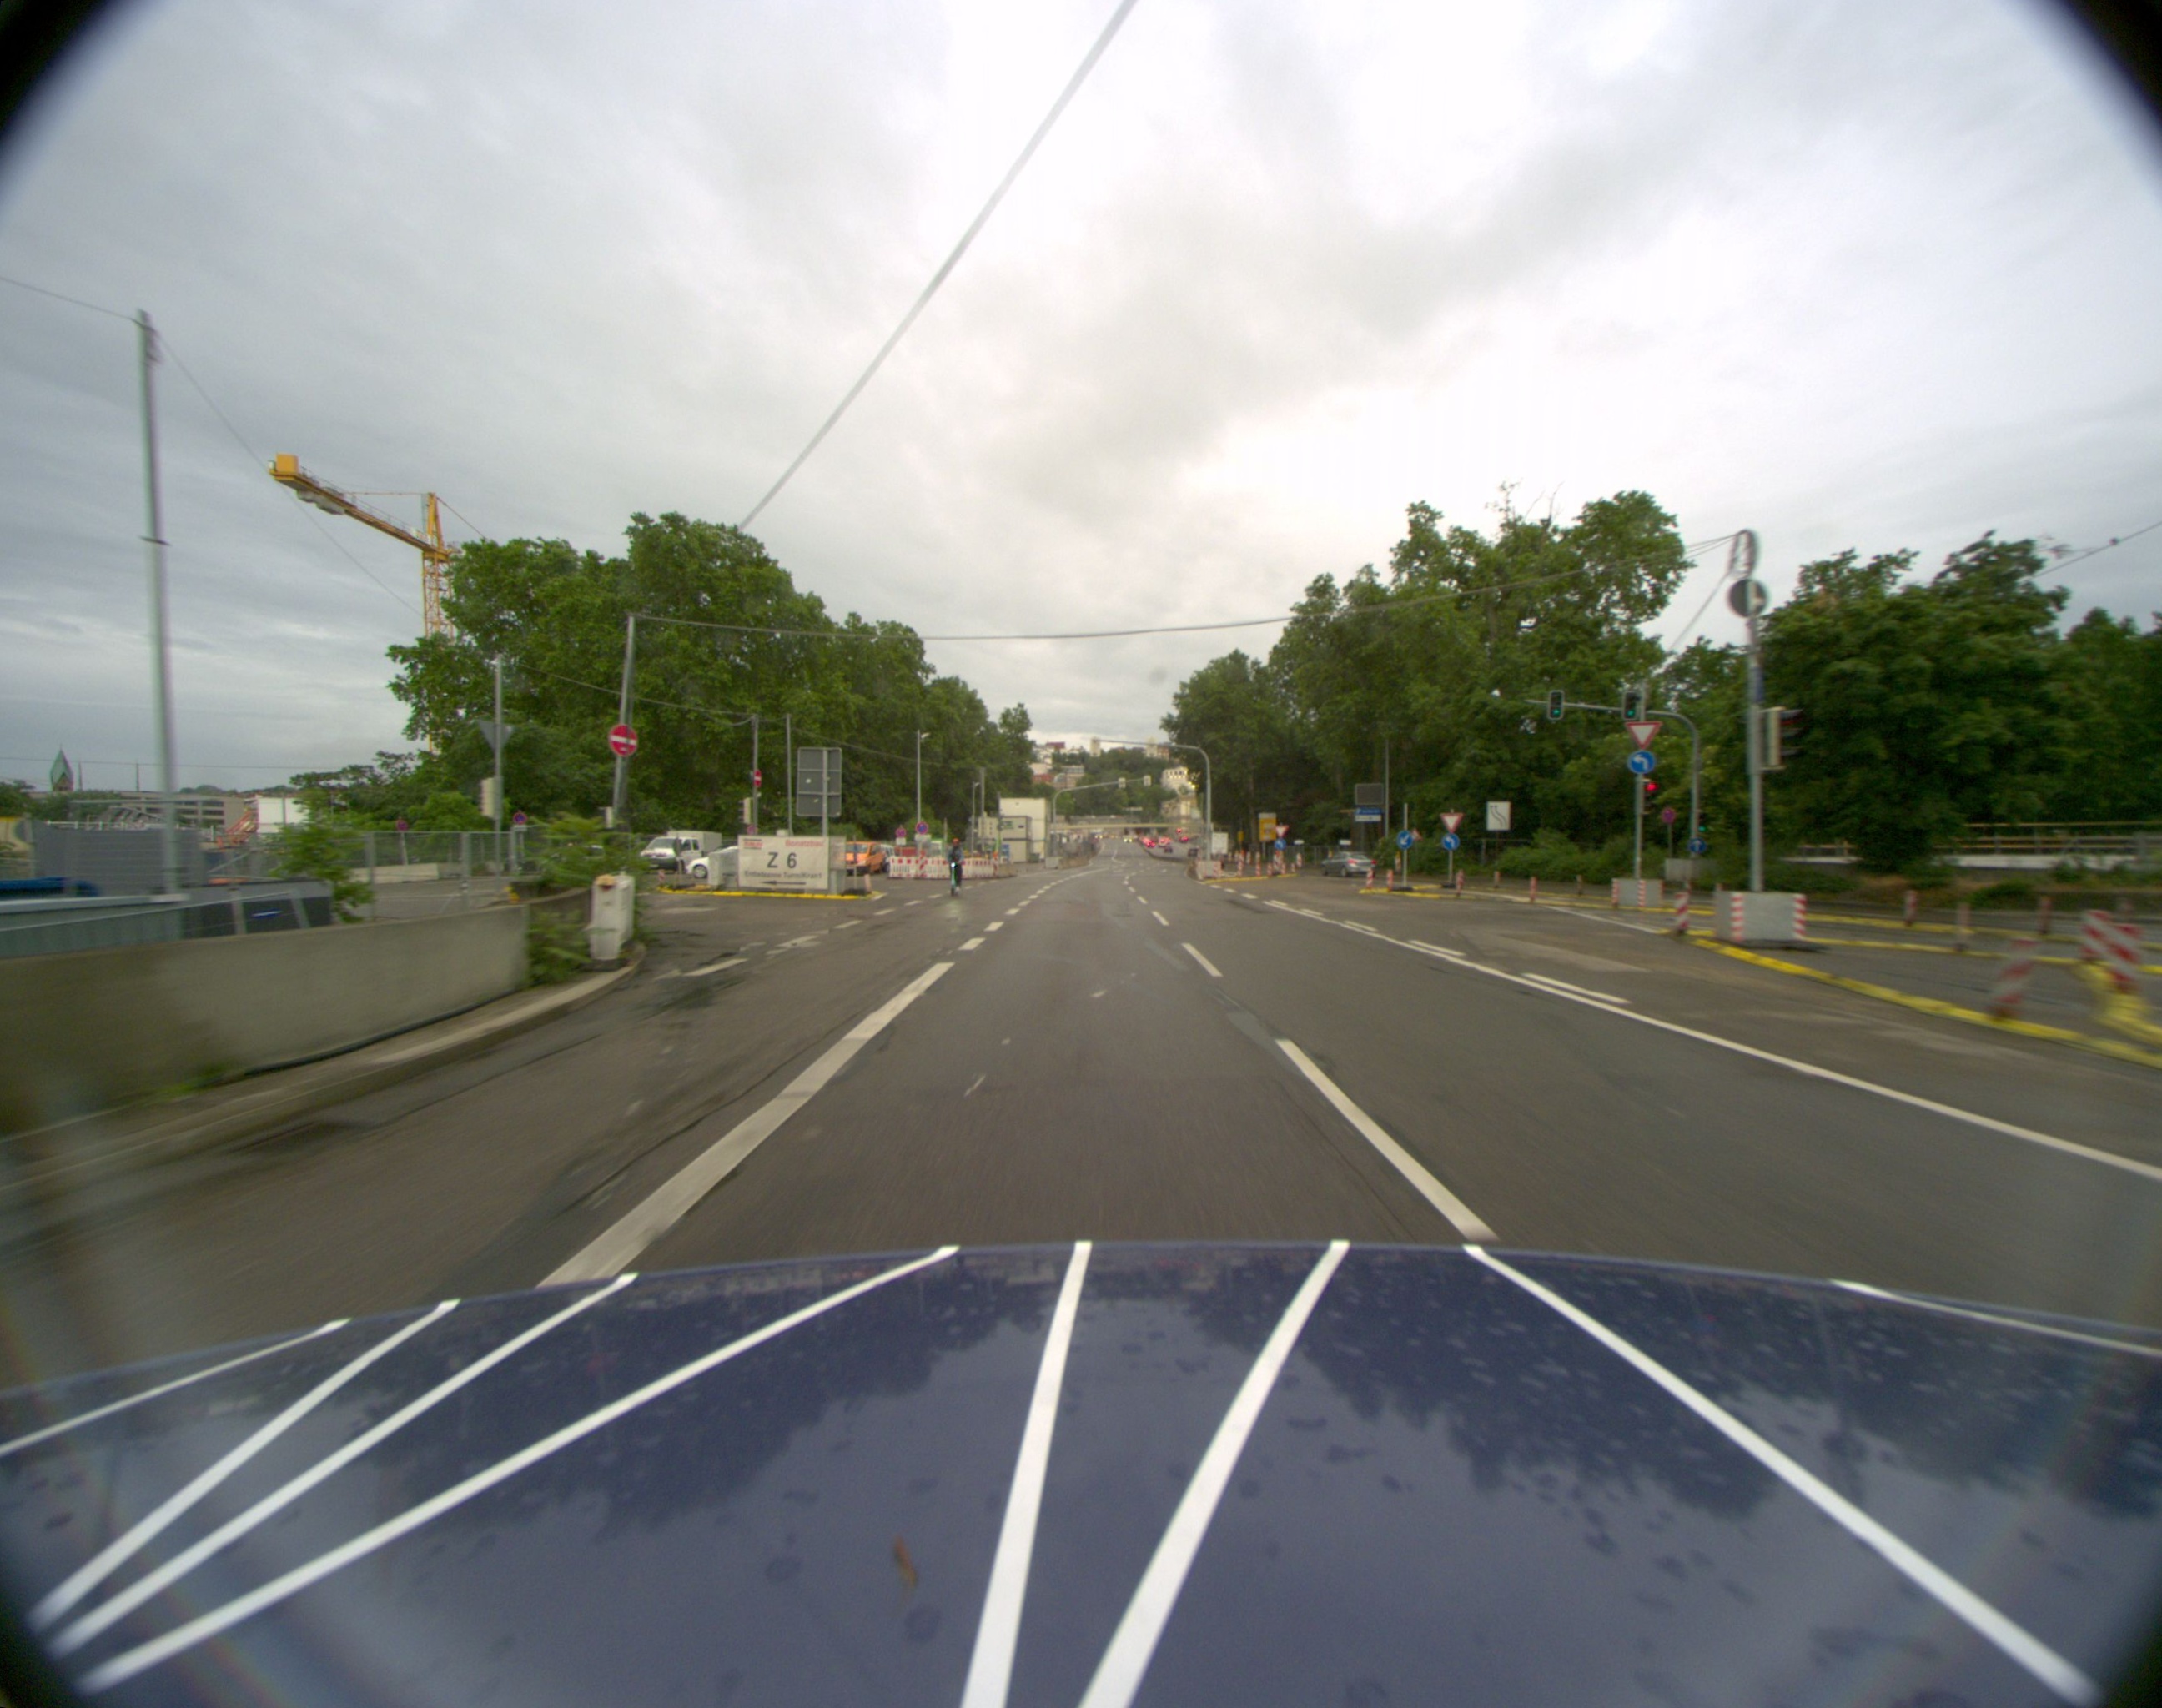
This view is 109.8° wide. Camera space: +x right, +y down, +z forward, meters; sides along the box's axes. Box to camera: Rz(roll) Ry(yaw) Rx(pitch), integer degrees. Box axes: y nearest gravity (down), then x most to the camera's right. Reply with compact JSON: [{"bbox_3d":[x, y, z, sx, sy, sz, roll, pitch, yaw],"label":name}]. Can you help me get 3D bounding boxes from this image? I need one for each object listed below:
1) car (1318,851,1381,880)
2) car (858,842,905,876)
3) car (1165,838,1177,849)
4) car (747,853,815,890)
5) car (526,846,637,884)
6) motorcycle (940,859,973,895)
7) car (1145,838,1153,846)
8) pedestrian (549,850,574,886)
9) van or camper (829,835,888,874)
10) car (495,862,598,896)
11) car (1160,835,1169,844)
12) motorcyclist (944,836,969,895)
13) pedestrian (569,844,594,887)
[{"bbox_3d":[15.557,0.724,44.219,1.664,1.533,4.156,-1,-2,-9],"label":"car"},{"bbox_3d":[-12.754,0.338,48.778,1.999,2.054,4.190,1,-1,-2],"label":"car"},{"bbox_3d":[18.667,-2.151,157.997,1.998,2.001,4.001,-1,-1,2],"label":"car"},{"bbox_3d":[-14.311,0.834,36.491,2.000,1.627,4.188,1,-1,-7],"label":"car"},{"bbox_3d":[-22.984,0.530,35.093,3.729,1.627,1.999,1,-1,-7],"label":"car"},{"bbox_3d":[-4.340,0.804,26.654,0.730,1.221,2.161,1,-1,1],"label":"motorcycle"},{"bbox_3d":[17.231,-3.019,192.758,1.998,2.001,4.001,-1,-1,2],"label":"car"},{"bbox_3d":[-22.989,0.628,33.650,0.652,1.565,0.662,1,-1,-7],"label":"pedestrian"},{"bbox_3d":[-12.428,0.102,42.869,2.123,2.016,5.012,1,-1,-4],"label":"van or camper"},{"bbox_3d":[-26.981,1.242,38.501,3.729,1.627,1.999,1,-1,-7],"label":"car"},{"bbox_3d":[21.580,-3.692,196.090,1.998,2.001,4.001,-1,-1,2],"label":"car"},{"bbox_3d":[-4.343,0.394,26.545,0.726,2.024,0.587,1,-1,1],"label":"motorcyclist"},{"bbox_3d":[-22.133,0.517,33.658,0.652,1.859,0.662,1,-1,-7],"label":"pedestrian"}]
